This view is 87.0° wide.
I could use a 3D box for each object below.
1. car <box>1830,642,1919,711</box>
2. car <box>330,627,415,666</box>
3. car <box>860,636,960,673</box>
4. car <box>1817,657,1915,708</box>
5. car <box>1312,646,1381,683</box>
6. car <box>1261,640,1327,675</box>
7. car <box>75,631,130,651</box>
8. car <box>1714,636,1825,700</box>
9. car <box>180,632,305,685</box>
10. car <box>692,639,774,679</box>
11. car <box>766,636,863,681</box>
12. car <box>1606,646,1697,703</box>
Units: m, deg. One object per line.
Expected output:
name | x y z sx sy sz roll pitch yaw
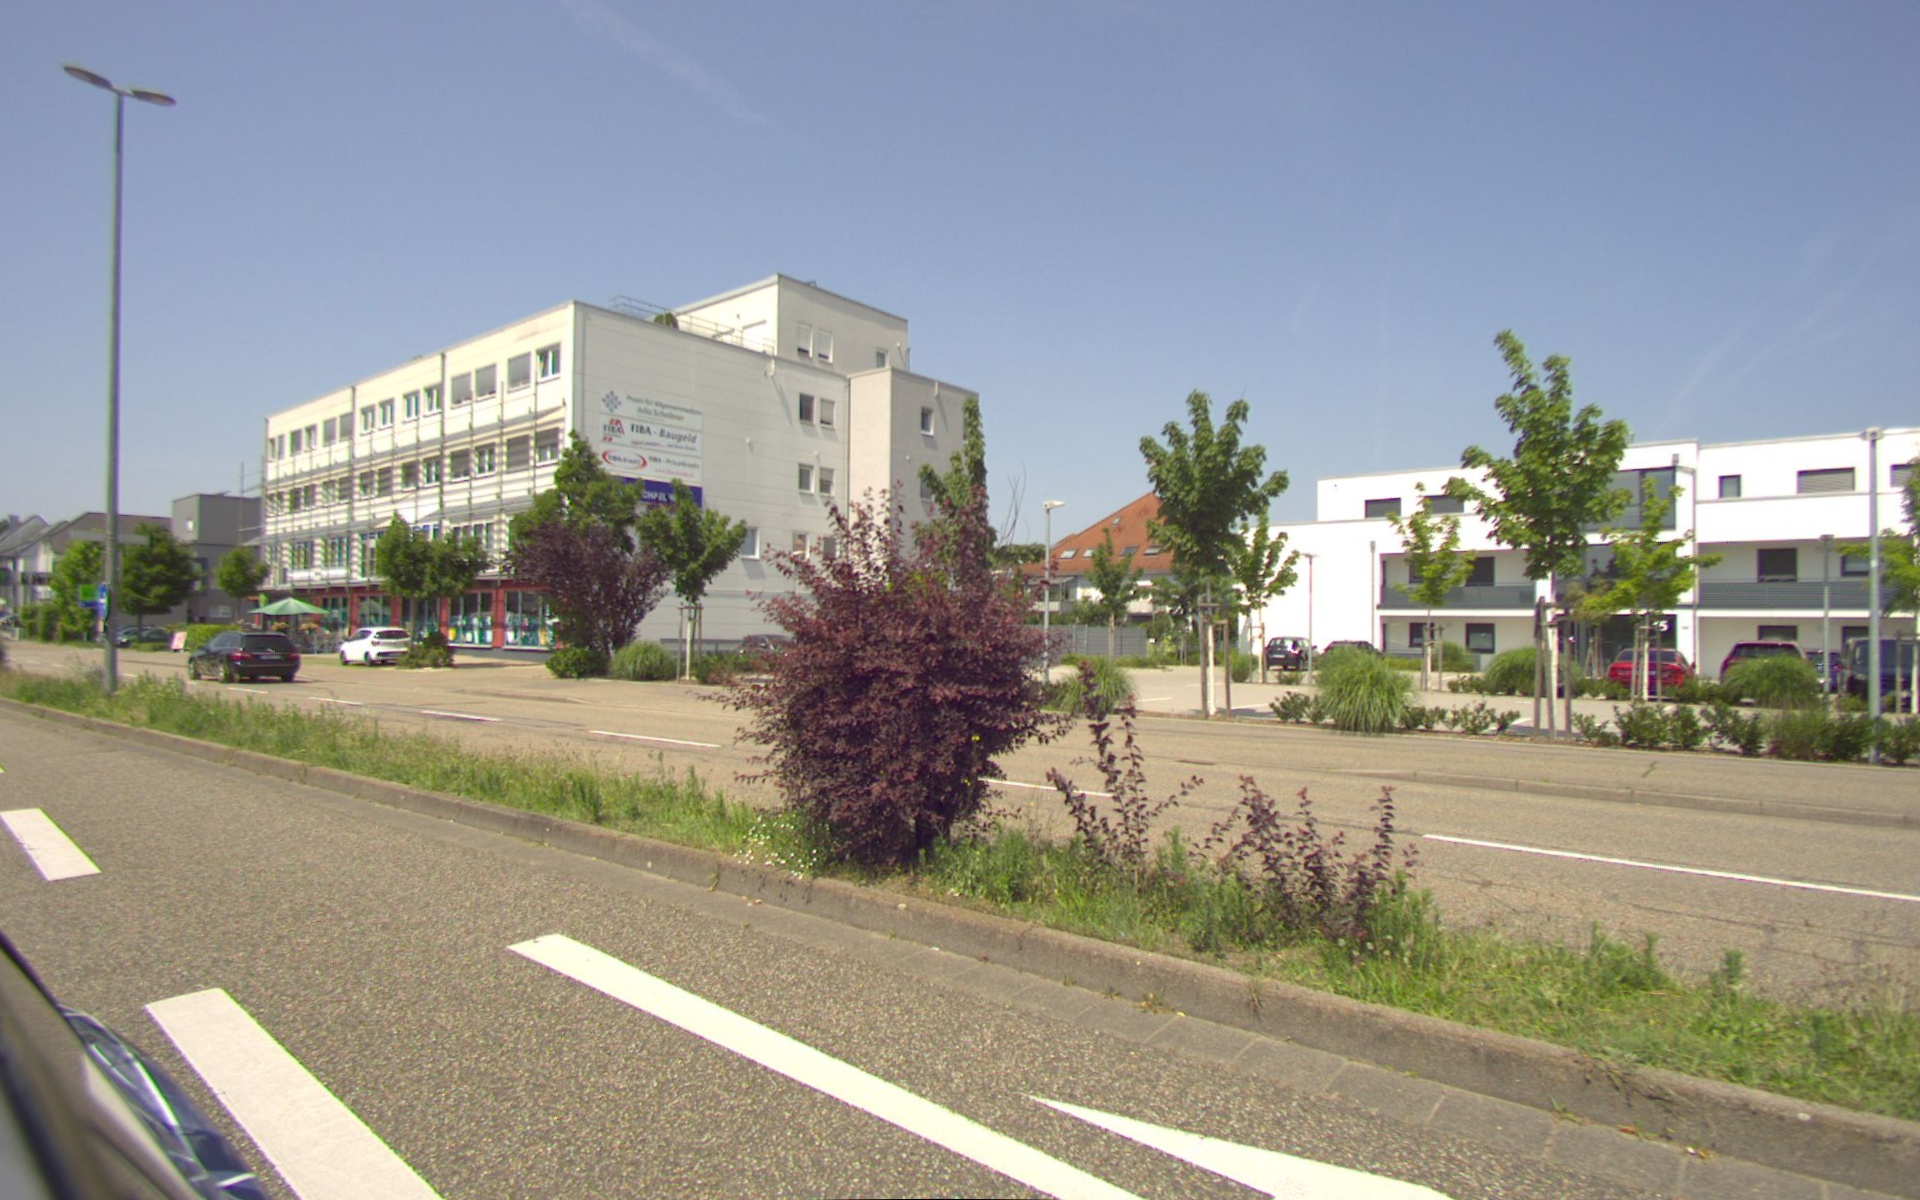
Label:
car | 21.792 1.726 23.566 1.874 1.464 3.952 -1 -2 35
car | -23.256 1.819 40.013 3.660 1.460 1.675 -1 -1 38
car | -2.065 2.178 40.902 3.832 1.394 1.899 -2 -3 42
car | 29.506 2.655 33.071 1.874 1.464 3.952 -1 -2 35
car | 16.670 2.748 43.519 1.874 1.464 3.952 -1 -2 35
car | 14.882 2.538 45.022 1.873 1.464 3.955 -1 -2 33
car | -59.921 2.865 70.708 1.444 1.423 2.702 -1 -3 39
car | 20.213 1.652 25.415 1.874 1.464 3.952 -1 -2 35
car | -21.701 1.731 30.537 4.706 1.472 1.810 -1 -3 38
car | -8.042 2.052 35.744 2.832 1.350 1.437 -1 -3 42
car | -5.316 2.079 36.776 3.555 1.530 1.537 -1 -3 42
car | 18.268 1.902 26.701 1.843 1.324 3.951 -1 -2 36
